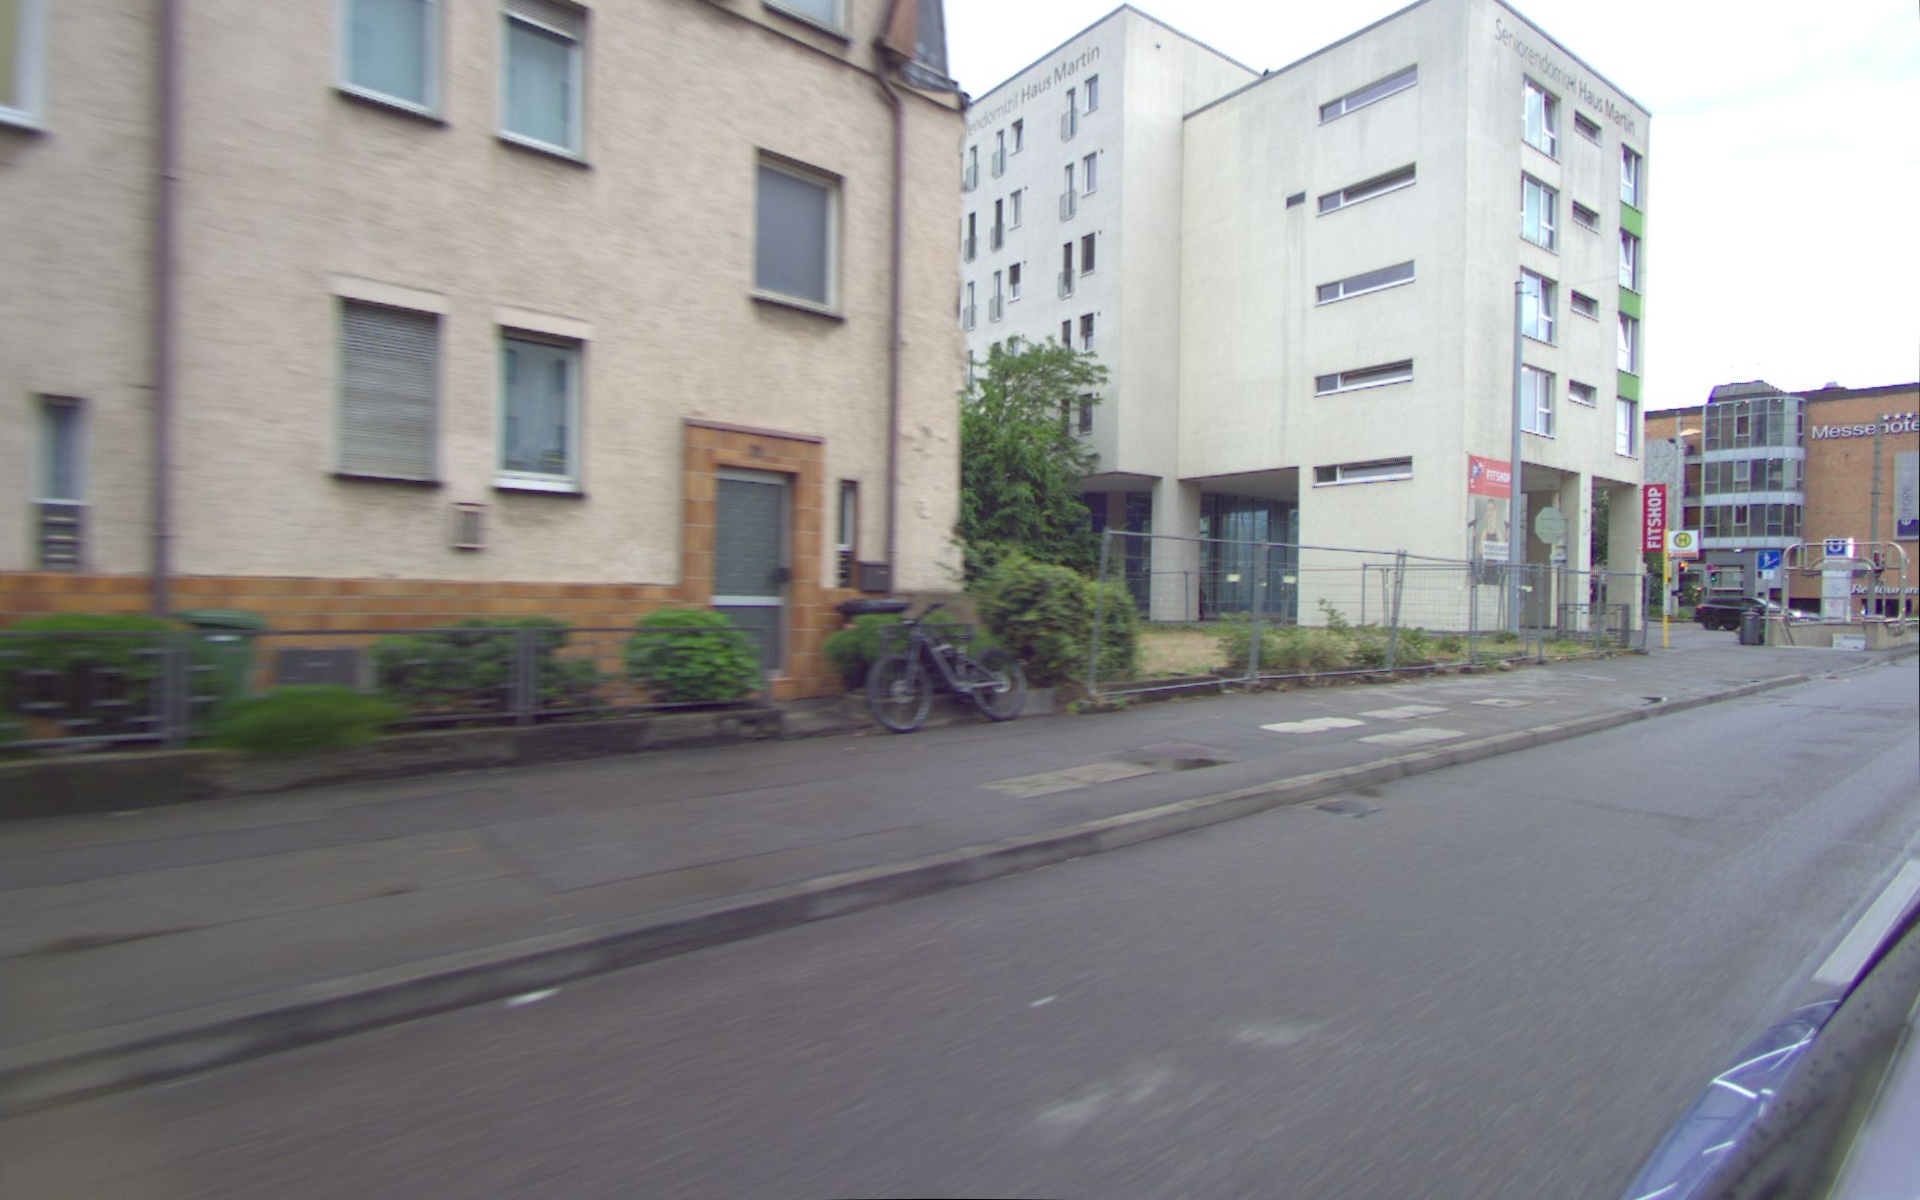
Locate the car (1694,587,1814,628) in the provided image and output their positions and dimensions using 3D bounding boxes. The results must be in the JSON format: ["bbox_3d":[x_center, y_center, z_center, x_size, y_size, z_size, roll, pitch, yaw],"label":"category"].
[{"bbox_3d":[37.018,0.315,47.239,1.963,1.592,4.000,-2,5,-37],"label":"car"}]
